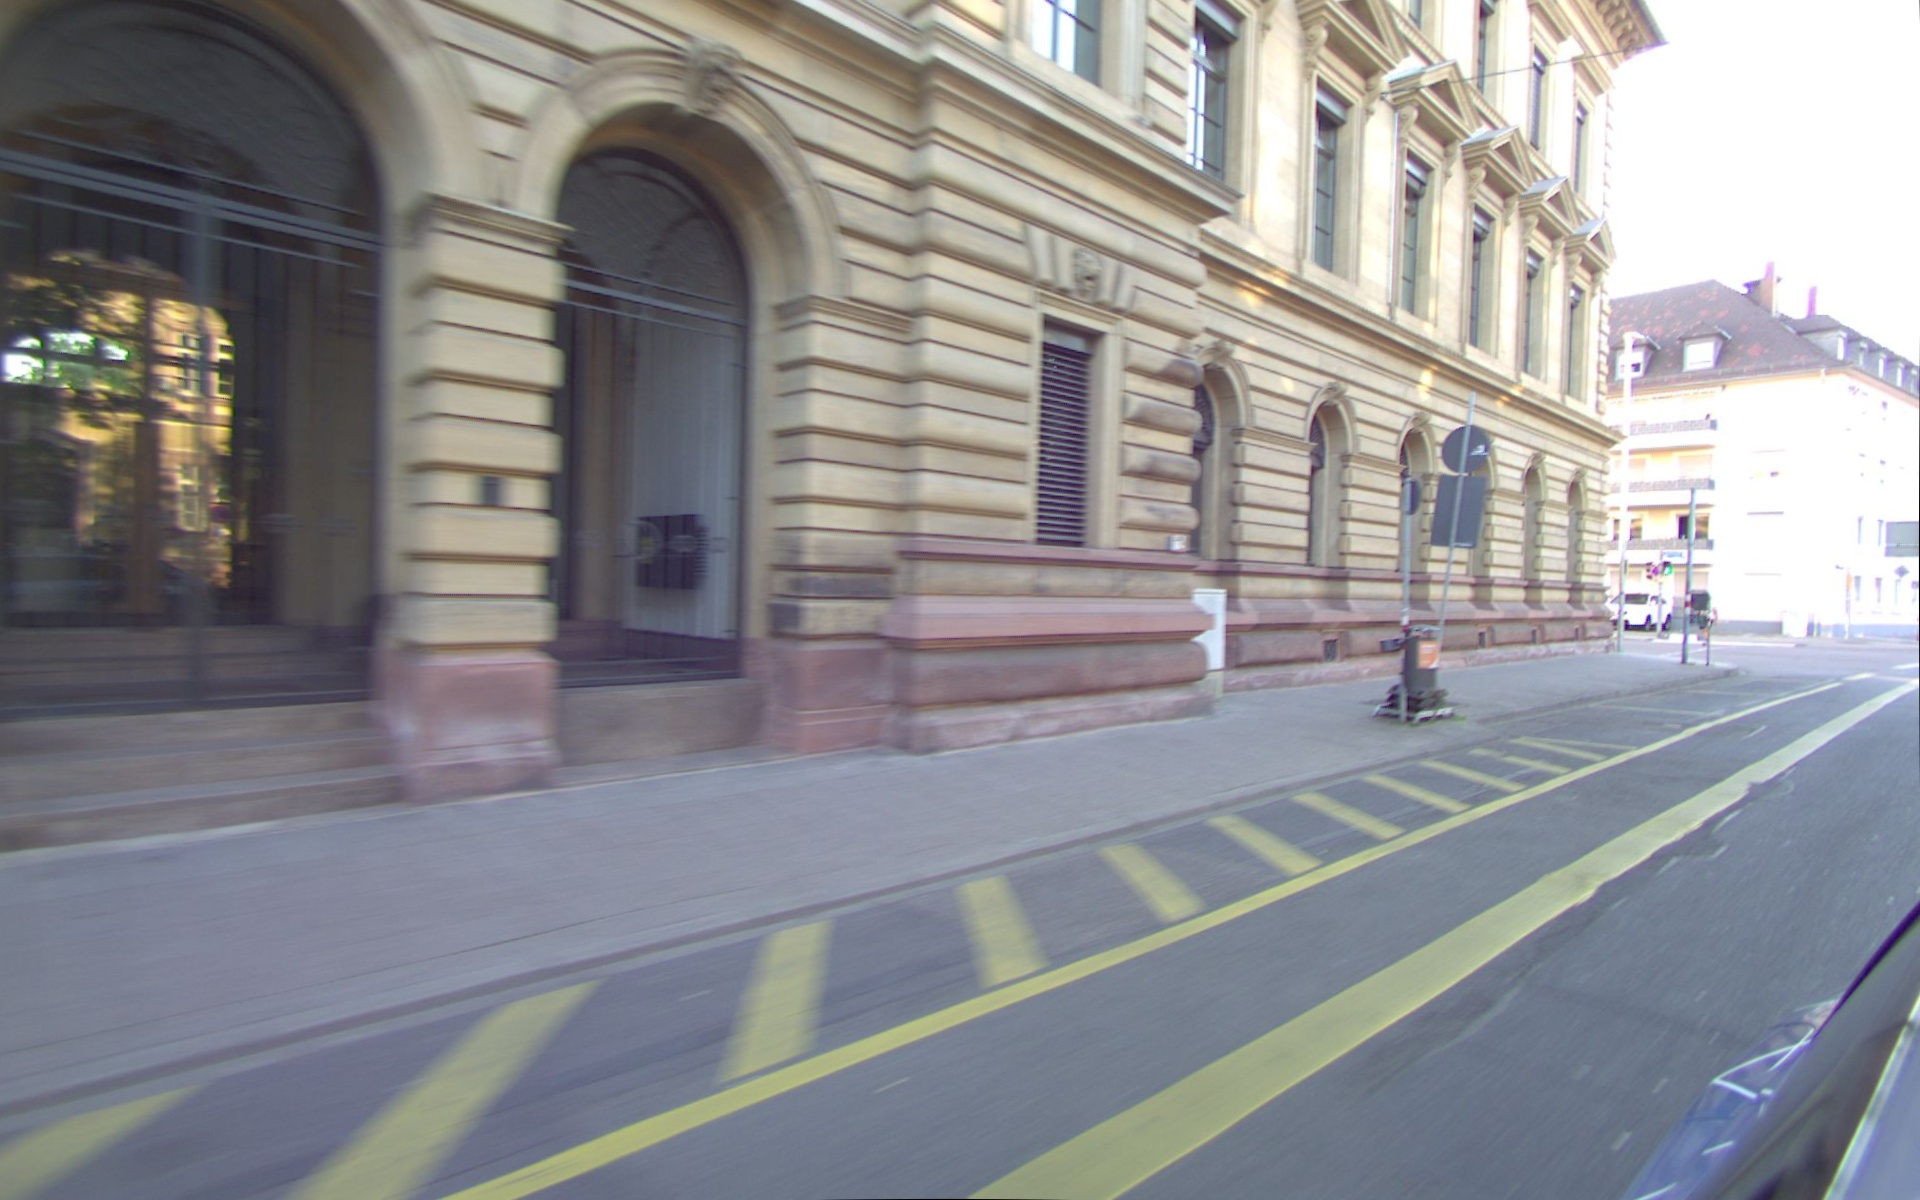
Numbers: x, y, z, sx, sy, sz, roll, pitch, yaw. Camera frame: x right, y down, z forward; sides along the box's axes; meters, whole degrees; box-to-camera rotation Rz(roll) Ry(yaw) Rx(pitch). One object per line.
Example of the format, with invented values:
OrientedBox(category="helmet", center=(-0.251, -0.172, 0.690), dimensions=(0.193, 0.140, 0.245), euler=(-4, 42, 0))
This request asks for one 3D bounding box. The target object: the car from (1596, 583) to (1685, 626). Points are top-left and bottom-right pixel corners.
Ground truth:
OrientedBox(category="car", center=(30.418, 0.183, 45.204), dimensions=(4.393, 1.771, 1.999), euler=(0, 1, -38))

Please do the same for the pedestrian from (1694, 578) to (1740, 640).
OrientedBox(category="pedestrian", center=(25.647, 0.303, 34.300), dimensions=(0.973, 2.039, 0.789), euler=(1, 0, -19))
